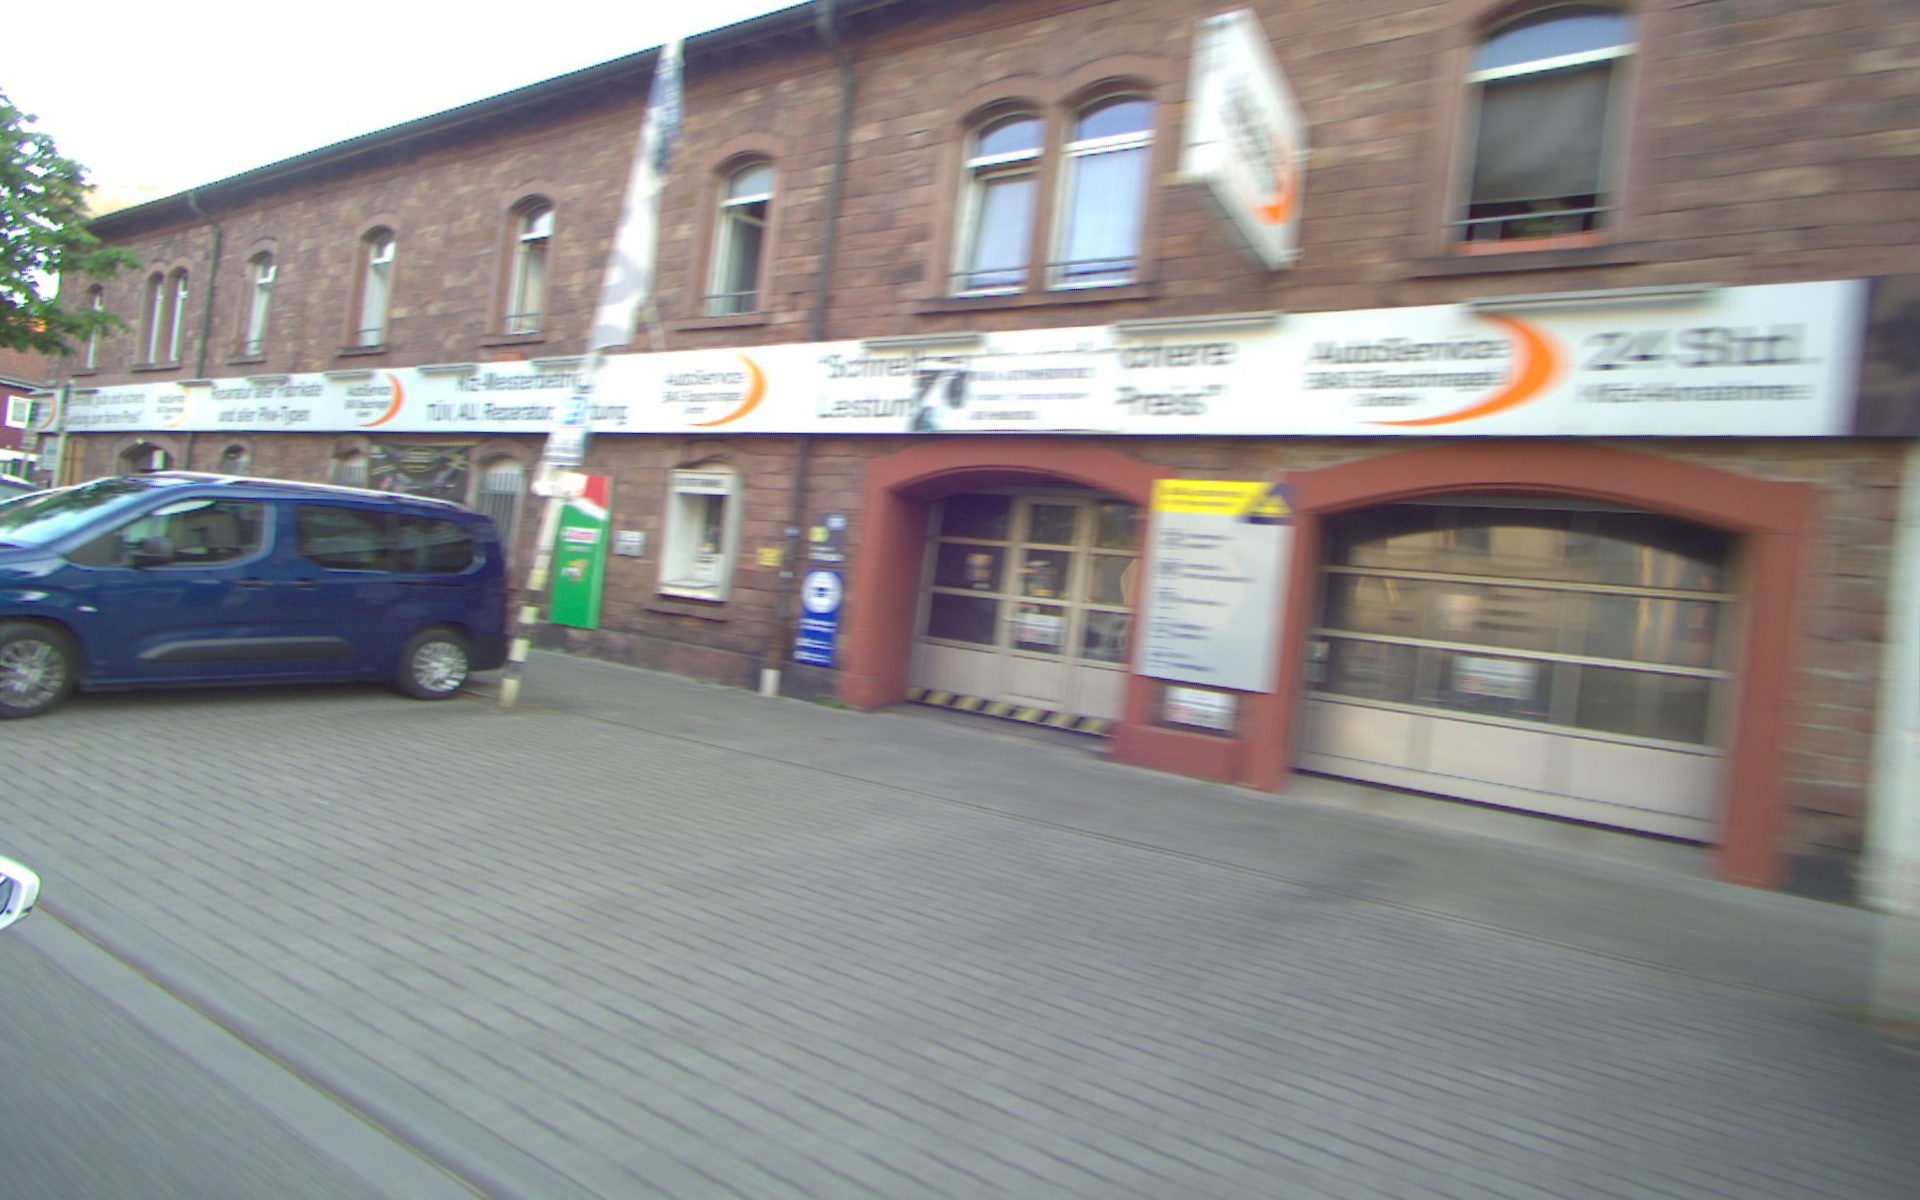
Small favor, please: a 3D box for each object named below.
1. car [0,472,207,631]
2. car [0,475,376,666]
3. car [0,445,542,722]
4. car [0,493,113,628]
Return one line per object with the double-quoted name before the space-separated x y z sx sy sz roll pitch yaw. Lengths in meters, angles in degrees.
"car" -10.859 -0.599 10.795 1.863 1.639 3.991 6 1 29
"car" -8.477 -0.316 9.772 1.948 1.596 4.417 7 2 29
"car" -6.207 -0.161 8.299 1.983 1.777 4.789 7 2 30
"car" -12.962 -0.673 11.940 1.789 1.583 3.957 6 -2 27
